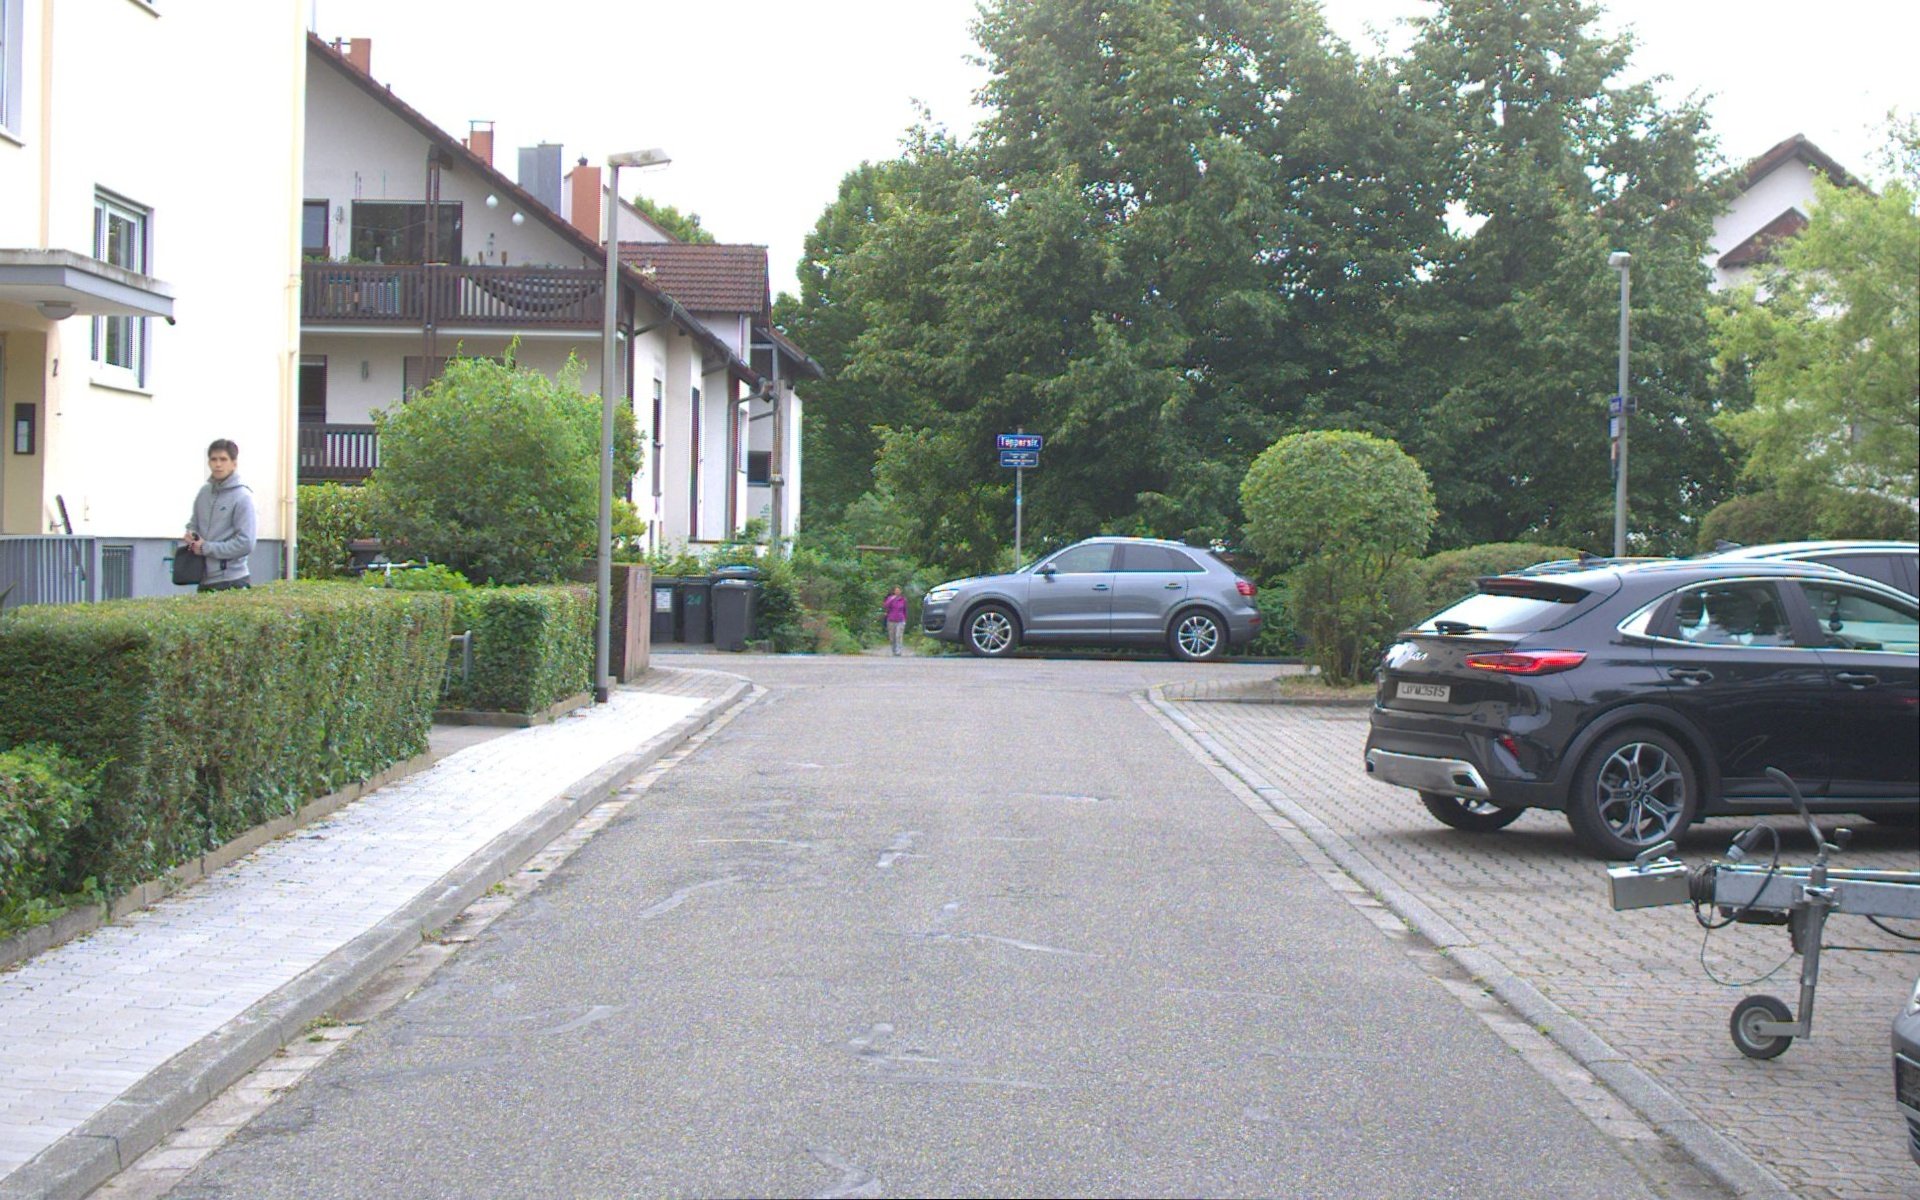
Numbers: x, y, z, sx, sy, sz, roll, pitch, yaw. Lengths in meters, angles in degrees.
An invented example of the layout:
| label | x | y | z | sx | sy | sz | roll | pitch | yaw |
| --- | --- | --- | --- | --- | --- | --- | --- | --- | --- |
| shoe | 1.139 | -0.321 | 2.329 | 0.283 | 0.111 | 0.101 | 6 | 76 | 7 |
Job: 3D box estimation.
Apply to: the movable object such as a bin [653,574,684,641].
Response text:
| label | x | y | z | sx | sy | sz | roll | pitch | yaw |
| --- | --- | --- | --- | --- | --- | --- | --- | --- | --- |
| movable object such as a bin | -4.030 | 0.104 | 47.543 | 0.386 | 0.898 | 0.379 | 2 | 1 | -2 |

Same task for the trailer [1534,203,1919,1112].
| label | x | y | z | sx | sy | sz | roll | pitch | yaw |
| --- | --- | --- | --- | --- | --- | --- | --- | --- | --- |
| trailer | 4.259 | 0.194 | 10.535 | 4.609 | 2.516 | 1.943 | 2 | 1 | 0 |

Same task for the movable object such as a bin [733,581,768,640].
| label | x | y | z | sx | sy | sz | roll | pitch | yaw |
| --- | --- | --- | --- | --- | --- | --- | --- | --- | --- |
| movable object such as a bin | -2.921 | 0.143 | 47.943 | 0.459 | 0.795 | 0.379 | 2 | 1 | -2 |

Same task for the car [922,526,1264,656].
| label | x | y | z | sx | sy | sz | roll | pitch | yaw |
| --- | --- | --- | --- | --- | --- | --- | --- | --- | --- |
| car | 1.659 | -0.099 | 43.833 | 4.237 | 1.526 | 1.747 | 1 | -1 | 0 |

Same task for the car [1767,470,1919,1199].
| label | x | y | z | sx | sy | sz | roll | pitch | yaw |
| --- | --- | --- | --- | --- | --- | --- | --- | --- | --- |
| car | 4.223 | 0.568 | 7.727 | 4.310 | 1.795 | 2.000 | -1 | 1 | -1 |

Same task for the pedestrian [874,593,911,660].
| label | x | y | z | sx | sy | sz | roll | pitch | yaw |
| --- | --- | --- | --- | --- | --- | --- | --- | --- | --- |
| pedestrian | -1.557 | 0.612 | 78.797 | 0.815 | 1.512 | 0.438 | 1 | 0 | -2 |

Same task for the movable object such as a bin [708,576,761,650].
| label | x | y | z | sx | sy | sz | roll | pitch | yaw |
| --- | --- | --- | --- | --- | --- | --- | --- | --- | --- |
| movable object such as a bin | -3.014 | 0.175 | 45.914 | 0.638 | 0.950 | 0.723 | 2 | 1 | -1 |

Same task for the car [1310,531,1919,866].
| label | x | y | z | sx | sy | sz | roll | pitch | yaw |
| --- | --- | --- | --- | --- | --- | --- | --- | --- | --- |
| car | 4.046 | 0.439 | 17.850 | 3.986 | 1.546 | 2.001 | -1 | 1 | -13 |

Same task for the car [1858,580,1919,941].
| label | x | y | z | sx | sy | sz | roll | pitch | yaw |
| --- | --- | --- | --- | --- | --- | --- | --- | --- | --- |
| car | 5.944 | 0.679 | 13.991 | 4.127 | 1.444 | 1.612 | 1 | 1 | 0 |

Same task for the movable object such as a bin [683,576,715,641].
| label | x | y | z | sx | sy | sz | roll | pitch | yaw |
| --- | --- | --- | --- | --- | --- | --- | --- | --- | --- |
| movable object such as a bin | -3.611 | 0.119 | 47.573 | 0.386 | 0.886 | 0.379 | 2 | 1 | -2 |

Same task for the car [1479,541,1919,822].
| label | x | y | z | sx | sy | sz | roll | pitch | yaw |
| --- | --- | --- | --- | --- | --- | --- | --- | --- | --- |
| car | 5.586 | 0.477 | 21.013 | 4.537 | 1.583 | 1.988 | 1 | 1 | 2 |

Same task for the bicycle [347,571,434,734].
| label | x | y | z | sx | sy | sz | roll | pitch | yaw |
| --- | --- | --- | --- | --- | --- | --- | --- | --- | --- |
| bicycle | -3.901 | 0.341 | 23.584 | 0.318 | 1.072 | 1.418 | 2 | 1 | 0 |

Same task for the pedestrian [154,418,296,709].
| label | x | y | z | sx | sy | sz | roll | pitch | yaw |
| --- | --- | --- | --- | --- | --- | --- | --- | --- | --- |
| pedestrian | -4.542 | -0.229 | 21.289 | 0.679 | 1.743 | 0.756 | 2 | 1 | -2 |
